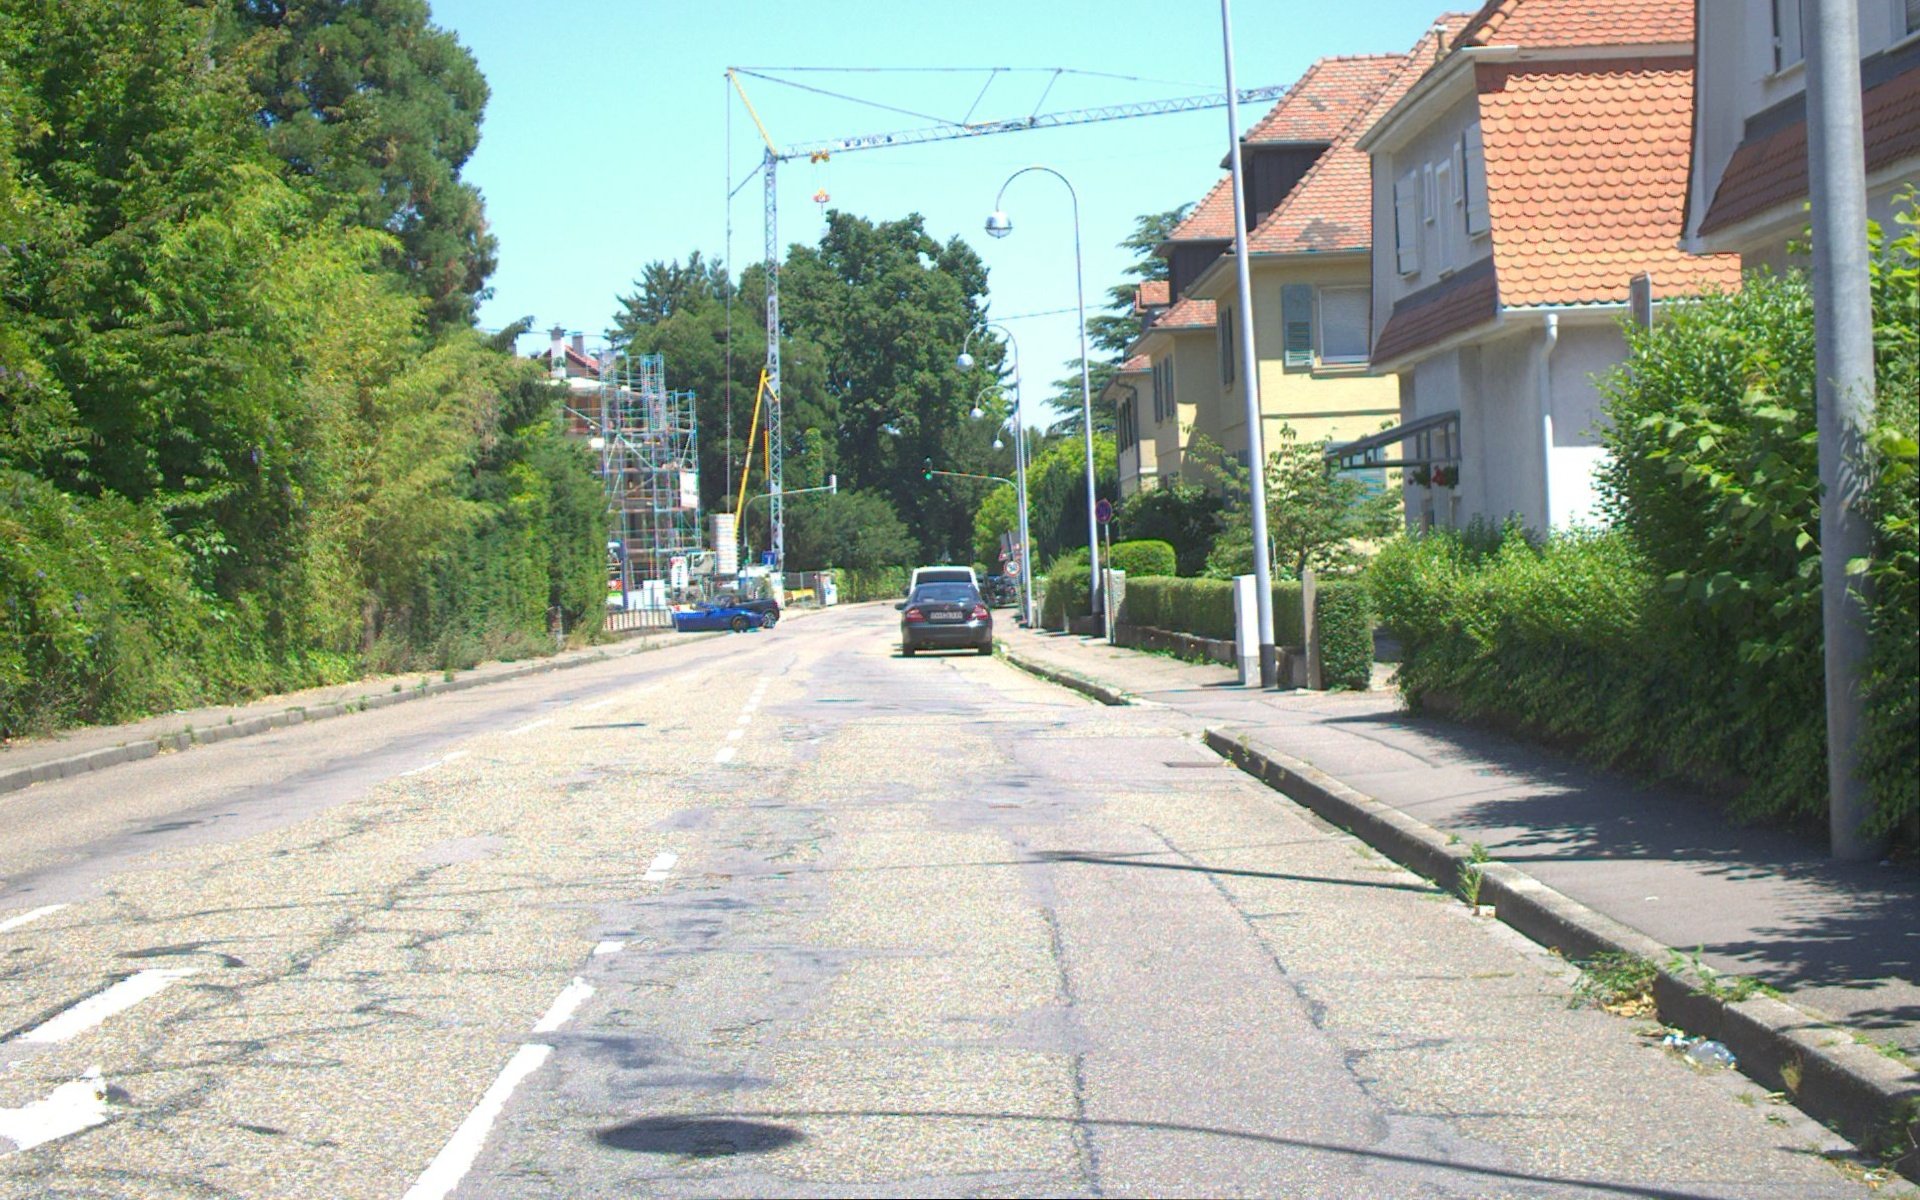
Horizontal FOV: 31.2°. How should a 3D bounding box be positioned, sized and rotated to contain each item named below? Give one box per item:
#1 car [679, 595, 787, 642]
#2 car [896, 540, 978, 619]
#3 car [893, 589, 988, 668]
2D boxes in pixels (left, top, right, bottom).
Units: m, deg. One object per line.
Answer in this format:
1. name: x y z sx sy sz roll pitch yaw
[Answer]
1. car: -8.654 0.691 131.396 3.986 1.463 1.965 -4 1 -3
2. car: -0.608 -0.515 86.185 1.993 1.894 4.823 0 0 -1
3. car: -0.412 0.534 66.150 1.692 1.414 4.551 -2 0 -1
